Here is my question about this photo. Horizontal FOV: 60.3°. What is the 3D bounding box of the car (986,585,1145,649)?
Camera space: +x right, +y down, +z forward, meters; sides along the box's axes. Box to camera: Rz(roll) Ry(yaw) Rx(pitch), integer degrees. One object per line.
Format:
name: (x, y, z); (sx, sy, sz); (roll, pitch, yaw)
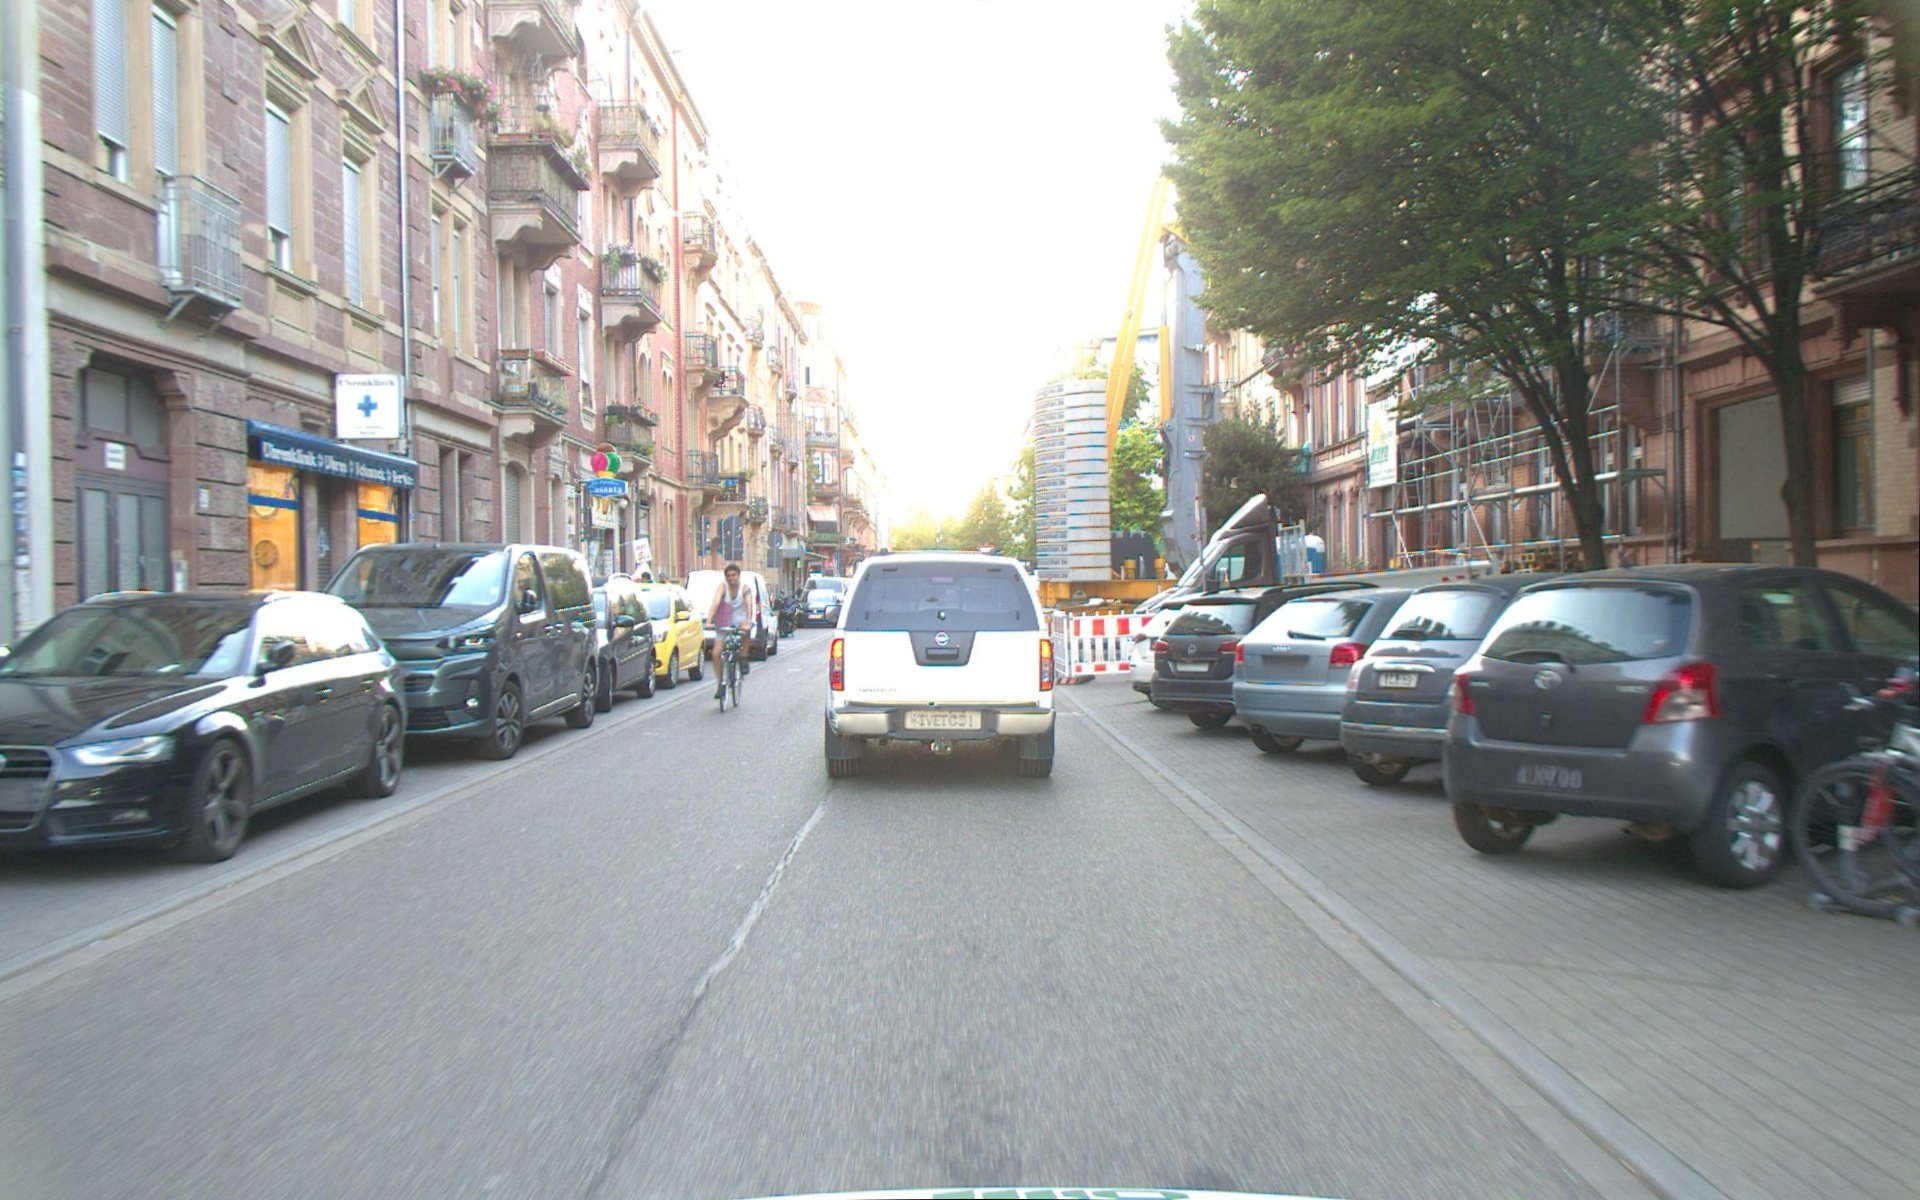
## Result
car: (2.770, 0.446, 43.748); (4.108, 1.650, 1.820); (0, 0, 2)

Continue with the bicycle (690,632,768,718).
bicycle: (-2.860, 0.913, 20.672); (0.784, 0.963, 2.003); (0, 0, -3)

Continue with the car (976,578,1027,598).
car: (3.367, -0.962, 134.829); (4.108, 1.650, 1.820); (0, 0, 2)

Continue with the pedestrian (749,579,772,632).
pedestrian: (-7.734, 0.202, 64.184); (0.772, 2.049, 0.934); (0, 0, -1)

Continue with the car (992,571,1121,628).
car: (3.129, -0.014, 53.932); (4.108, 1.811, 1.820); (0, 0, 2)

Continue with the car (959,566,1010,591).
car: (2.212, -1.930, 147.007); (4.492, 2.215, 1.820); (0, 0, 2)

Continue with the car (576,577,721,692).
car: (-4.772, 0.485, 25.777); (1.468, 1.621, 3.856); (-1, 0, 0)

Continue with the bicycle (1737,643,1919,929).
bicycle: (4.174, 0.741, 6.643); (0.684, 1.127, 1.839); (0, -1, -29)

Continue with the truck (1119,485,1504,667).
truck: (5.971, -0.363, 28.760); (6.190, 3.029, 2.264); (0, -2, 0)

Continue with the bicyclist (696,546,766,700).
bicyclist: (-2.845, 0.277, 20.628); (0.784, 1.882, 0.943); (0, 0, -3)

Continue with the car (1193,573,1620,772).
car: (4.097, 0.558, 14.981); (3.795, 1.462, 1.740); (-3, 1, -36)

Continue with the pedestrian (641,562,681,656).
pedestrian: (-6.133, 0.184, 33.972); (0.723, 1.902, 0.618); (0, 0, -2)

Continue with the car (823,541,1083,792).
car: (-0.095, 0.470, 14.410); (1.894, 1.826, 4.621); (0, 0, -1)

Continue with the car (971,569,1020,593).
car: (3.278, -1.723, 151.180); (4.492, 2.215, 1.820); (0, 0, 2)

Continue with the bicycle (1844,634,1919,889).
bicycle: (4.790, 0.707, 6.988); (0.551, 1.127, 1.839); (0, -1, -29)

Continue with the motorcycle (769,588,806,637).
motorcycle: (-5.201, 0.346, 50.047); (0.819, 1.440, 2.549); (0, 0, 0)

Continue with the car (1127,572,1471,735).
car: (3.689, 0.491, 17.675); (3.858, 1.557, 1.614); (0, 0, -41)

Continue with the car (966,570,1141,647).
car: (2.275, 0.197, 39.878); (4.107, 1.811, 1.821); (0, 0, 5)

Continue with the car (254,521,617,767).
car: (-4.682, 0.329, 15.622); (1.866, 1.959, 4.946); (0, 0, 0)

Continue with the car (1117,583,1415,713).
car: (3.824, 0.537, 20.532); (3.514, 1.490, 1.594); (0, 0, -32)

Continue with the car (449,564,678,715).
car: (-4.888, 0.437, 20.977); (1.865, 1.692, 4.068); (-1, 0, 0)

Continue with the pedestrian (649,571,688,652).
pedestrian: (-6.936, 0.262, 39.367); (0.603, 1.902, 0.740); (0, 0, 22)

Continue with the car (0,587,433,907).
car: (-4.808, 0.672, 9.979); (1.873, 1.497, 4.533); (0, 0, -1)

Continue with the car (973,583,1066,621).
car: (2.652, 0.097, 73.590); (4.108, 1.650, 1.820); (0, 0, 2)

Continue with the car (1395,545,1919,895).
car: (4.240, 0.497, 9.092); (3.364, 1.500, 1.755); (-3, 2, -32)

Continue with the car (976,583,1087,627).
car: (2.696, 0.184, 62.336); (4.108, 1.650, 1.820); (0, 0, 2)

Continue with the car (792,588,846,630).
car: (-5.412, 0.308, 63.948); (1.755, 1.557, 4.000); (0, 0, -1)

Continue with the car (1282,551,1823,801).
car: (4.538, 0.489, 12.633); (3.779, 1.557, 1.747); (-3, 0, -27)

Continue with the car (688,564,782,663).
car: (-4.738, 0.260, 35.273); (1.528, 1.955, 3.855); (1, 0, -1)

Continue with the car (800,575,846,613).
car: (-5.771, -0.247, 70.043); (1.675, 1.557, 3.999); (0, 0, -1)
